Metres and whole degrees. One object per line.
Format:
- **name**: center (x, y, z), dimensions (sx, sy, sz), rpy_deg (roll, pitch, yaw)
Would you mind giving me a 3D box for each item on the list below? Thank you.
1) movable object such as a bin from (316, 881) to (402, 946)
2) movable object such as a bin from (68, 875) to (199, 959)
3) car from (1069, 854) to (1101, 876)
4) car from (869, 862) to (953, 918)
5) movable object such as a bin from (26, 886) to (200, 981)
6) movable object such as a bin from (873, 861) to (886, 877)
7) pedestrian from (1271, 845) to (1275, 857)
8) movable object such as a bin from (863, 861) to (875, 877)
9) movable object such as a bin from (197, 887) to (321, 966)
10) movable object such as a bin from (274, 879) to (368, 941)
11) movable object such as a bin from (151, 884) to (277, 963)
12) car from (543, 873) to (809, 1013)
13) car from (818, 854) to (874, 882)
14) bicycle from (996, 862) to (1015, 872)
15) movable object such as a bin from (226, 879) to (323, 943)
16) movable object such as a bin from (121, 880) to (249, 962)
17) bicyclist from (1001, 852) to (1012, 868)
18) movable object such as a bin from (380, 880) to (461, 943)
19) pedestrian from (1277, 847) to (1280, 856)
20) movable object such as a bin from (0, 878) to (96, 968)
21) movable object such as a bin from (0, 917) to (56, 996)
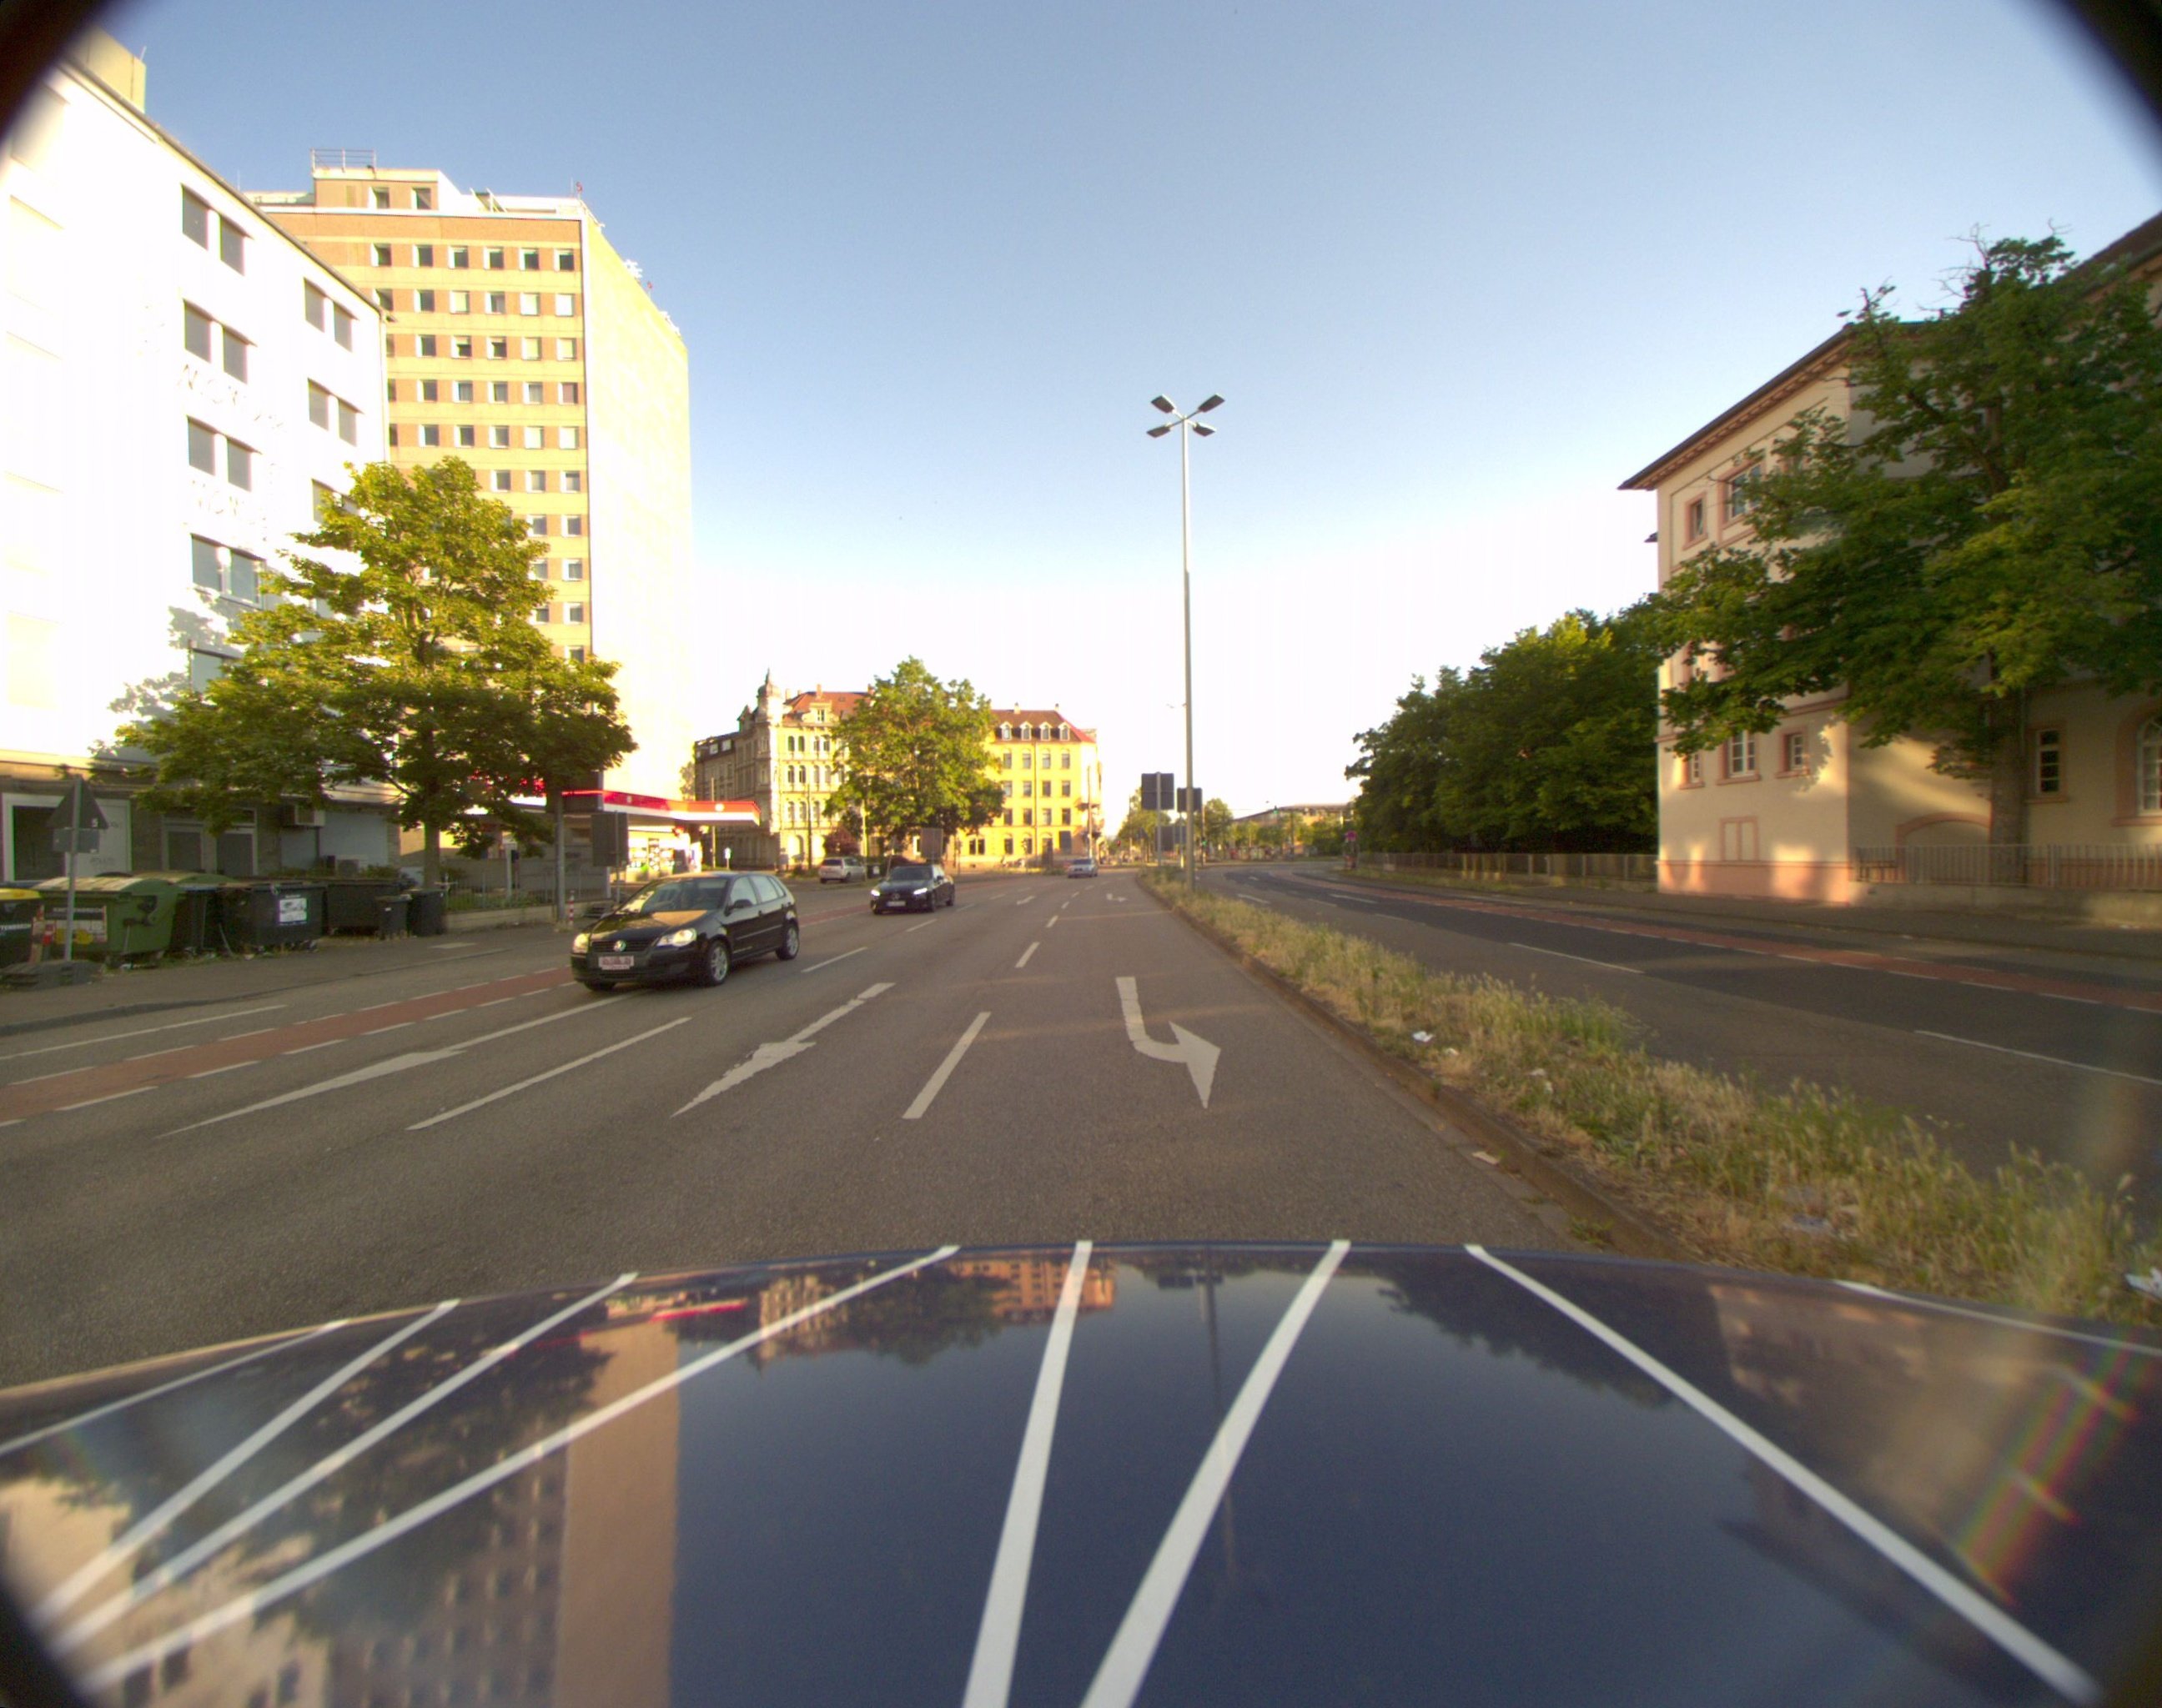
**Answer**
- **movable object such as a bin**: center (-15.874, 1.288, 16.740), dimensions (0.956, 1.320, 0.953), rpy_deg (-1, 1, -2)
- **movable object such as a bin**: center (-18.296, 1.188, 14.718), dimensions (1.034, 1.490, 1.162), rpy_deg (-1, 1, -2)
- **car**: center (0.341, 0.762, 54.376), dimensions (1.673, 1.410, 4.443), rpy_deg (-2, 0, 8)
- **car**: center (-5.099, 1.031, 23.268), dimensions (1.732, 1.441, 4.045), rpy_deg (-2, 0, -2)
- **movable object such as a bin**: center (-15.809, 1.262, 12.459), dimensions (1.351, 1.415, 1.105), rpy_deg (-1, 1, -4)
- **movable object such as a bin**: center (-13.141, 0.978, 49.554), dimensions (0.544, 1.013, 0.688), rpy_deg (-1, 1, 5)
- **pedestrian**: center (34.023, -0.528, 134.769), dimensions (0.556, 2.002, 0.664), rpy_deg (-1, 1, 1)
- **movable object such as a bin**: center (-13.861, 0.992, 49.765), dimensions (0.544, 1.013, 0.688), rpy_deg (-1, 1, 5)
- **movable object such as a bin**: center (-14.947, 1.291, 13.863), dimensions (0.956, 1.320, 1.162), rpy_deg (-1, 1, -2)
- **movable object such as a bin**: center (-16.929, 1.234, 16.960), dimensions (0.956, 1.276, 1.098), rpy_deg (-1, 1, -2)
- **movable object such as a bin**: center (-16.037, 1.259, 14.095), dimensions (0.956, 1.320, 1.162), rpy_deg (-1, 1, -2)
- **car**: center (-5.359, 1.077, 10.692), dimensions (1.584, 1.441, 3.872), rpy_deg (-2, 0, 1)
- **car**: center (-13.947, 0.822, 45.276), dimensions (1.688, 1.508, 3.798), rpy_deg (-1, 1, 8)
- **bicycle**: center (-7.734, 1.320, 77.863), dimensions (1.927, 1.053, 0.451), rpy_deg (-1, 1, -7)
- **movable object such as a bin**: center (-17.927, 1.247, 16.917), dimensions (0.956, 1.320, 1.098), rpy_deg (-1, 1, -2)
- **movable object such as a bin**: center (-17.120, 1.249, 14.564), dimensions (1.034, 1.440, 1.162), rpy_deg (-1, 1, -2)
- **bicyclist**: center (-7.680, 0.588, 77.940), dimensions (1.065, 1.639, 0.732), rpy_deg (-1, 1, -7)
- **movable object such as a bin**: center (-14.877, 1.277, 17.137), dimensions (0.956, 1.320, 0.953), rpy_deg (-1, 1, -2)
- **pedestrian**: center (34.993, -0.421, 134.469), dimensions (0.467, 1.695, 0.419), rpy_deg (-1, 1, 1)
- **movable object such as a bin**: center (-18.688, 1.193, 13.405), dimensions (1.034, 1.490, 1.162), rpy_deg (-1, 1, -2)
- **movable object such as a bin**: center (-15.511, 1.459, 10.747), dimensions (0.853, 1.039, 0.819), rpy_deg (-1, 1, -4)
